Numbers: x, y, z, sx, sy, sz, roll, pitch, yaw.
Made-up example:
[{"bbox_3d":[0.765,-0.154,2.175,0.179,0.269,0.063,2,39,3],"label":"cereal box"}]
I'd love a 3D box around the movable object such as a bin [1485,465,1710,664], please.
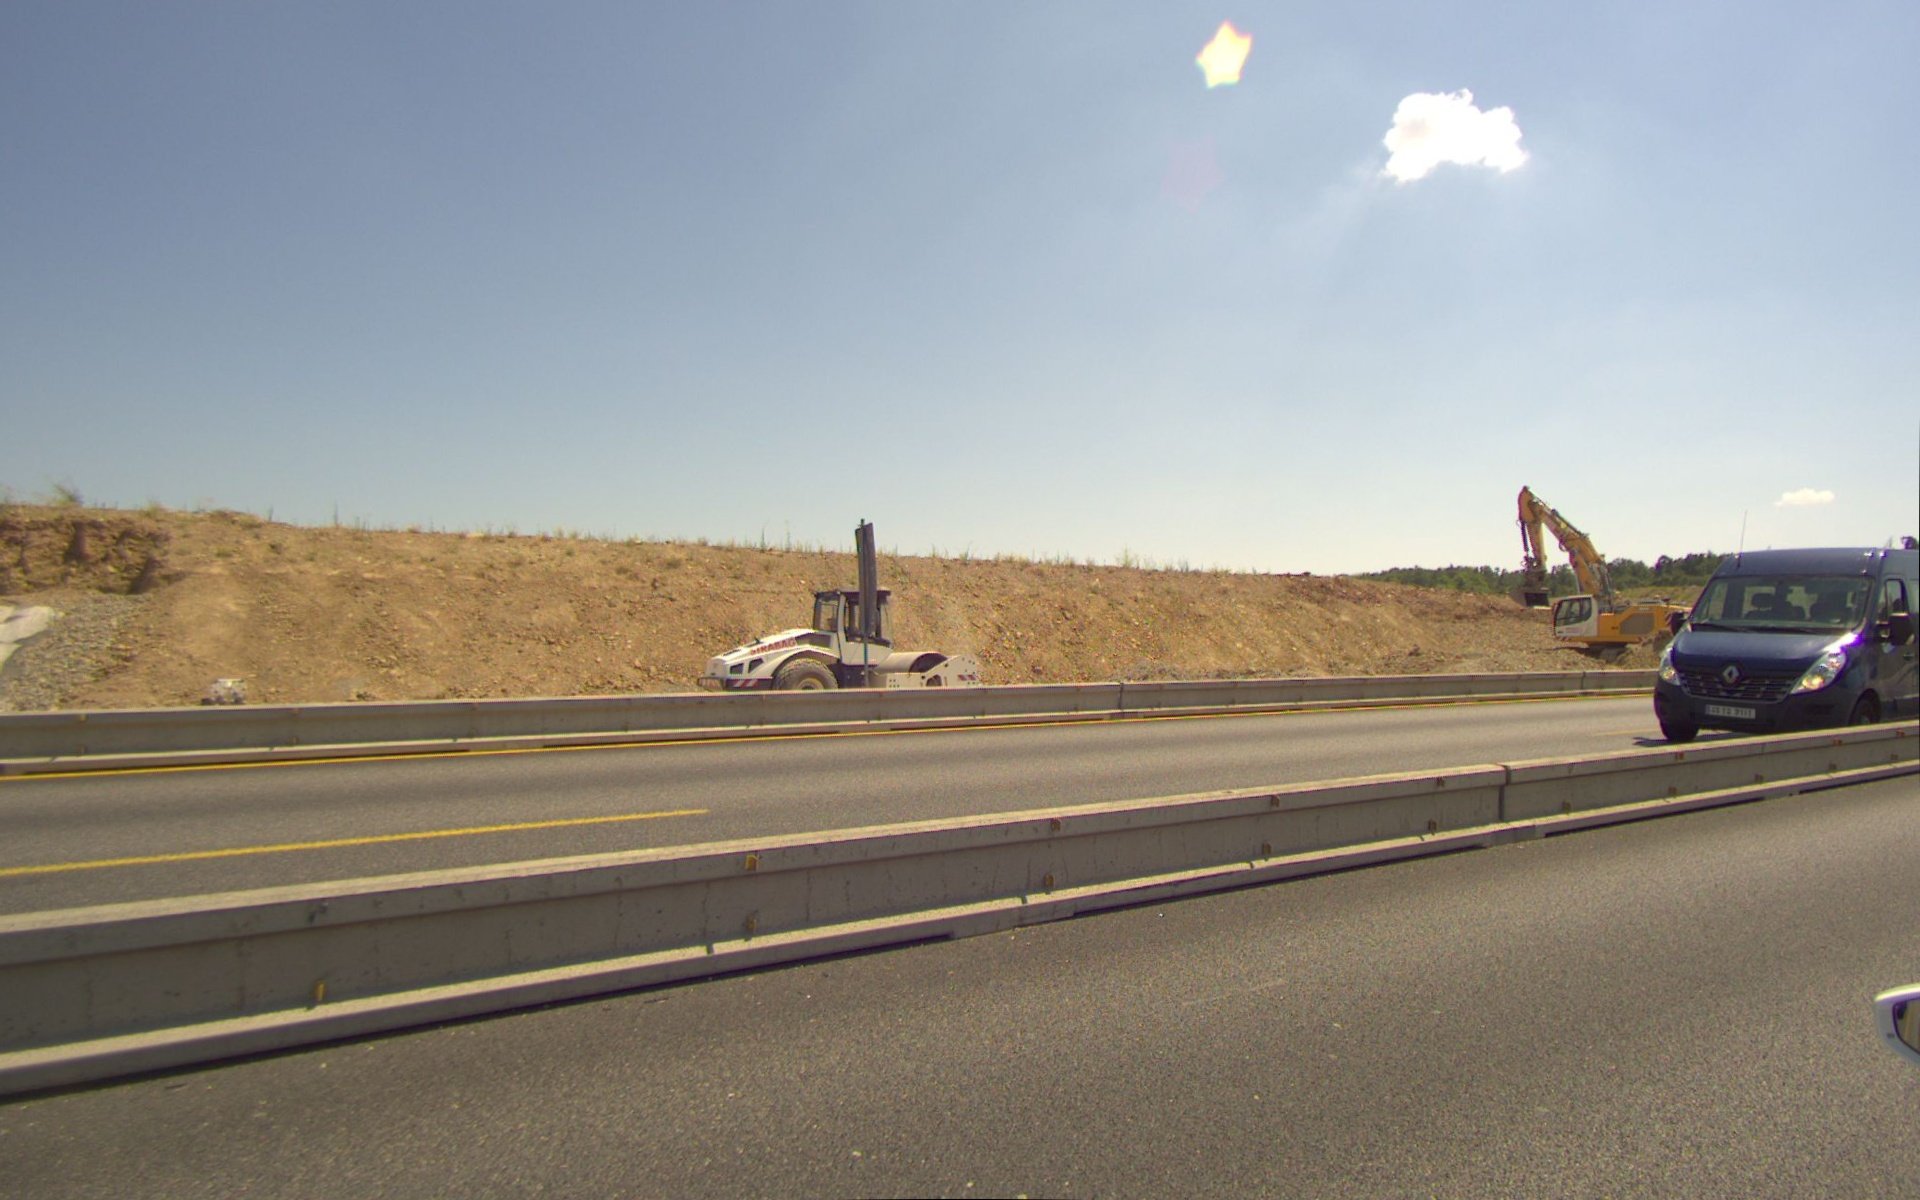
[{"bbox_3d":[27.412,-1.307,43.642,3.402,7.816,7.608,1,-1,-27],"label":"movable object such as a bin"}]

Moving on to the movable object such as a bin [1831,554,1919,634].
[{"bbox_3d":[90.856,-0.539,90.501,3.574,7.327,18.619,1,-1,-31],"label":"movable object such as a bin"}]

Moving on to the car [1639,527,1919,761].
[{"bbox_3d":[11.161,0.529,12.894,5.293,2.501,1.947,1,-1,-30],"label":"car"}]

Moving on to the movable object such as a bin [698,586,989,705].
[{"bbox_3d":[-2.599,1.029,23.558,6.664,2.493,1.694,1,-1,-30],"label":"movable object such as a bin"}]

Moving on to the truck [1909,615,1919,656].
[{"bbox_3d":[65.741,2.365,66.245,8.310,2.652,2.305,1,-1,-30],"label":"truck"}]
